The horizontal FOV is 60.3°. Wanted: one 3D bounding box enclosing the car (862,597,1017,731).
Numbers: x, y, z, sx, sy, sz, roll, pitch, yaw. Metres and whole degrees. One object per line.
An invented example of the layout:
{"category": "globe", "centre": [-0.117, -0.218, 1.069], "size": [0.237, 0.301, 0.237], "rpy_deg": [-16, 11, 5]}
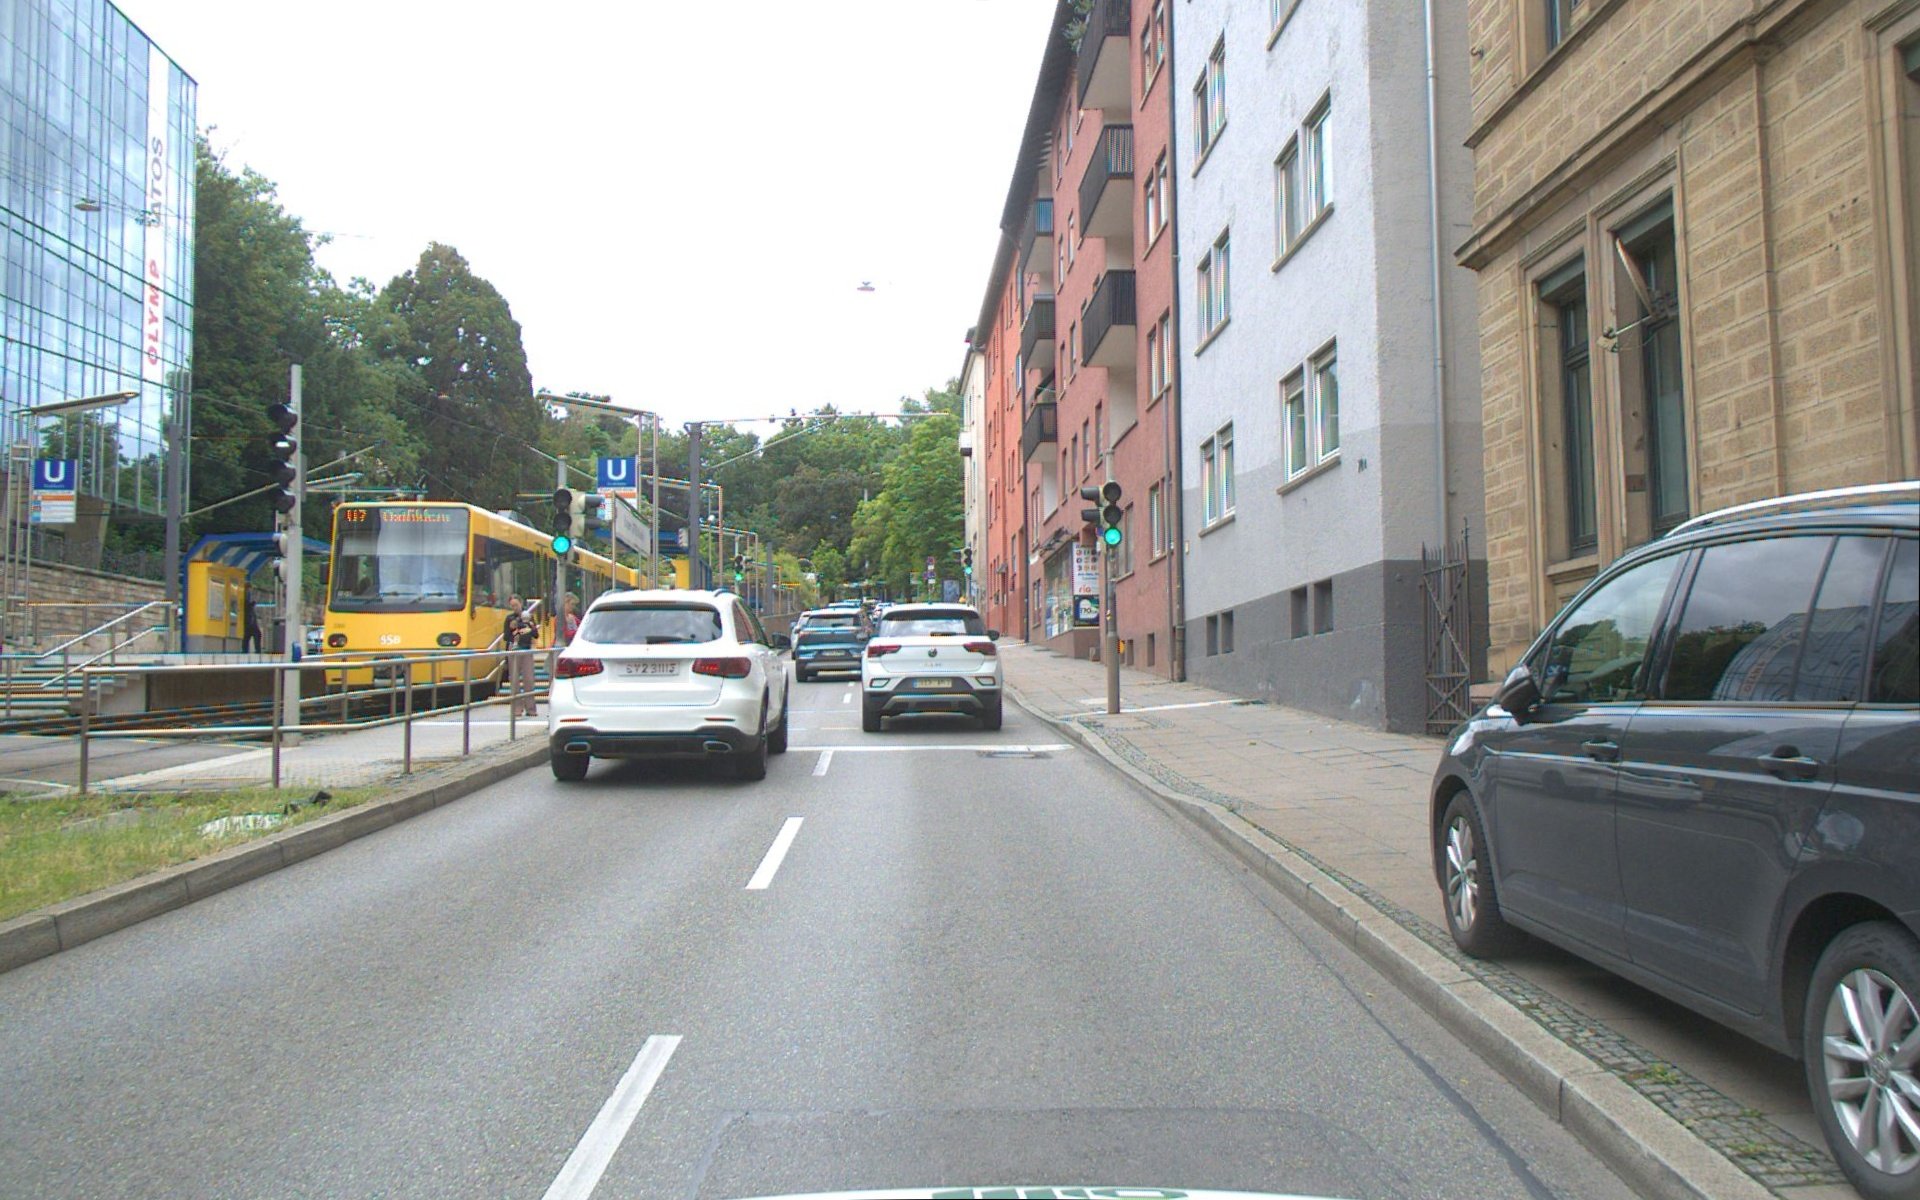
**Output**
{"category": "car", "centre": [-0.283, 0.759, 21.487], "size": [1.827, 1.583, 3.893], "rpy_deg": [0, 0, -1]}

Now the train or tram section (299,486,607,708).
{"category": "train or tram section", "centre": [-9.644, 0.219, 33.346], "size": [2.890, 3.606, 12.389], "rpy_deg": [-1, -3, -3]}

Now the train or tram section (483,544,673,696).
{"category": "train or tram section", "centre": [-10.188, 0.816, 45.597], "size": [2.890, 3.533, 12.209], "rpy_deg": [-1, -4, -3]}

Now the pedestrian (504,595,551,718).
{"category": "pedestrian", "centre": [-6.149, 0.796, 23.552], "size": [0.610, 1.725, 0.658], "rpy_deg": [0, -1, -13]}

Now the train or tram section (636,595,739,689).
{"category": "train or tram section", "centre": [-11.374, 1.807, 70.235], "size": [2.891, 3.570, 12.976], "rpy_deg": [-1, -2, -3]}

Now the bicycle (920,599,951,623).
{"category": "bicycle", "centre": [-1.294, 0.583, 87.208], "size": [0.632, 1.161, 2.046], "rpy_deg": [-11, 4, -28]}

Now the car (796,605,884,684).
{"category": "car", "centre": [-2.644, 0.950, 37.202], "size": [1.823, 1.660, 3.957], "rpy_deg": [-1, 0, -2]}

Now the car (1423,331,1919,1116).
{"category": "car", "centre": [2.995, 0.251, 5.042], "size": [1.820, 1.741, 4.306], "rpy_deg": [-2, 0, -1]}

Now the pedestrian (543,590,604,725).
{"category": "pedestrian", "centre": [-4.980, 0.734, 21.331], "size": [0.665, 1.709, 0.684], "rpy_deg": [0, -1, -6]}

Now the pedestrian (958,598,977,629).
{"category": "pedestrian", "centre": [0.424, 0.755, 94.595], "size": [0.820, 1.742, 0.818], "rpy_deg": [-2, 0, -17]}

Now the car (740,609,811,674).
{"category": "car", "centre": [-5.729, 1.250, 51.732], "size": [1.954, 1.915, 3.997], "rpy_deg": [0, 0, -3]}

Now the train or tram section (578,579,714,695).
{"category": "train or tram section", "centre": [-10.715, 1.405, 57.704], "size": [2.890, 3.545, 12.210], "rpy_deg": [-1, -2, -3]}

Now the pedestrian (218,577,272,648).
{"category": "pedestrian", "centre": [-16.712, 0.289, 38.682], "size": [0.956, 1.623, 0.765], "rpy_deg": [0, -1, -3]}

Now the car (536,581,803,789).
{"category": "car", "centre": [-2.558, 0.694, 15.588], "size": [1.839, 1.681, 4.340], "rpy_deg": [0, 0, -1]}
